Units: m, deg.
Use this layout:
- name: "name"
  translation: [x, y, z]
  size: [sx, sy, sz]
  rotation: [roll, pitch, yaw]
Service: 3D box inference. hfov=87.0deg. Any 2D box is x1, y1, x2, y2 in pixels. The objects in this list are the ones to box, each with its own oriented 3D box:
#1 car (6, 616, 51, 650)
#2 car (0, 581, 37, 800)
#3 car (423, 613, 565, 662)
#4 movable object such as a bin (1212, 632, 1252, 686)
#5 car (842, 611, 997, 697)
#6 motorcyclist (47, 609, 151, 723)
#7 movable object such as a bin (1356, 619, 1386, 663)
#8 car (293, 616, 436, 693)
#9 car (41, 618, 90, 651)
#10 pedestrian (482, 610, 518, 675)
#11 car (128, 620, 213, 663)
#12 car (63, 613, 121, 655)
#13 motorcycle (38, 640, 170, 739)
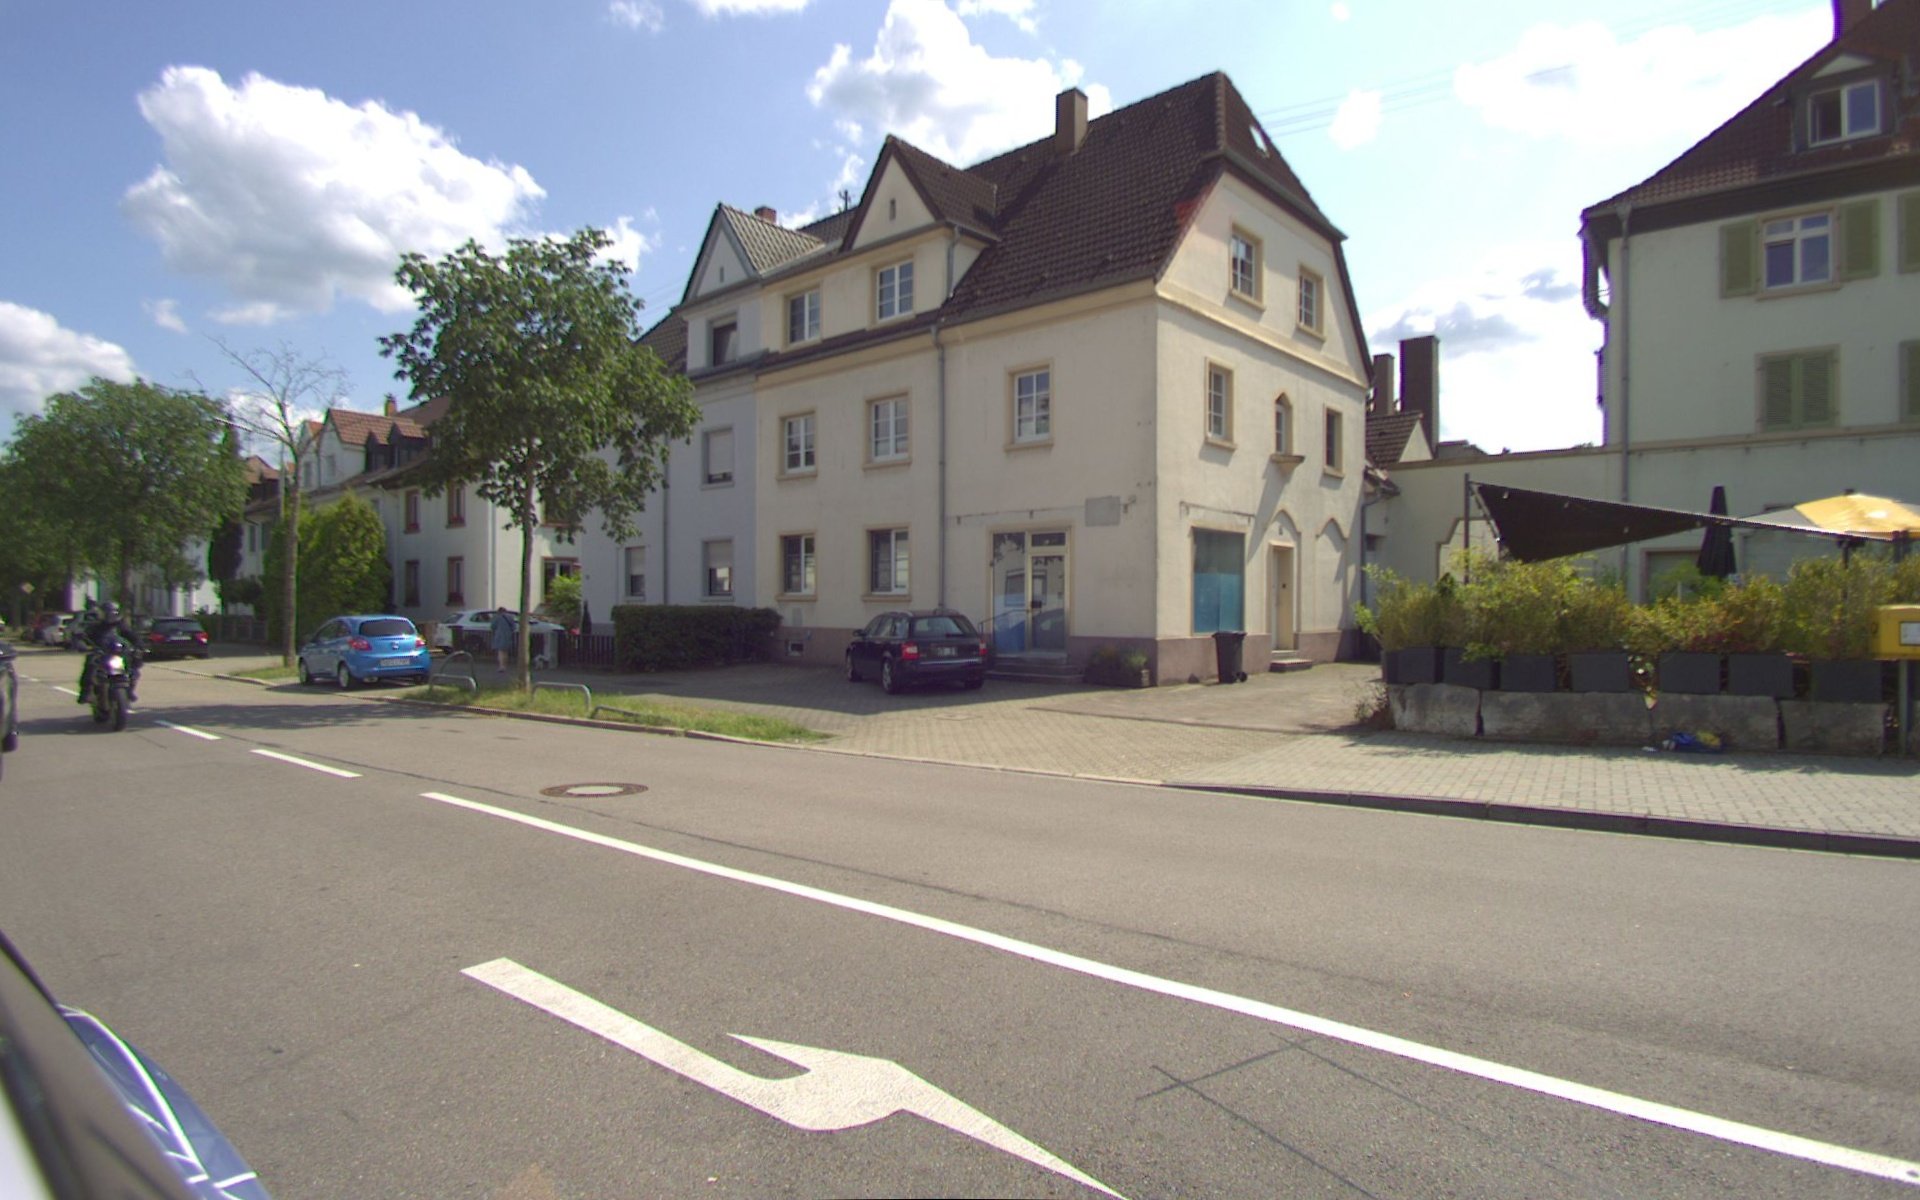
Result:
- name: "car"
  translation: [-47.854, 1.683, 51.952]
  size: [3.252, 1.667, 1.541]
  rotation: [-1, -2, 45]
- name: "car"
  translation: [-10.043, 0.761, 9.343]
  size: [4.873, 1.777, 1.753]
  rotation: [-1, -1, 42]
- name: "car"
  translation: [-14.845, 1.152, 32.352]
  size: [1.711, 1.465, 3.753]
  rotation: [-1, -1, 44]
- name: "movable object such as a bin"
  translation: [5.113, 1.095, 19.044]
  size: [0.510, 0.979, 0.607]
  rotation: [-1, -2, 41]
- name: "car"
  translation: [-0.869, 0.910, 18.551]
  size: [1.732, 1.397, 4.115]
  rotation: [0, -1, -19]
- name: "motorcyclist"
  translation: [-11.290, 0.852, 13.269]
  size: [1.098, 1.409, 0.815]
  rotation: [-4, -2, 38]
- name: "movable object such as a bin"
  translation: [9.990, 0.985, 24.584]
  size: [0.510, 1.053, 0.607]
  rotation: [-1, -2, 41]
- name: "car"
  translation: [-12.517, 1.091, 21.231]
  size: [3.153, 1.473, 1.687]
  rotation: [-1, -1, 41]
- name: "car"
  translation: [-40.875, 1.552, 46.212]
  size: [1.601, 1.436, 3.004]
  rotation: [0, -1, -43]
- name: "pedestrian"
  translation: [-11.127, 1.017, 24.497]
  size: [0.623, 1.547, 0.618]
  rotation: [1, -2, -44]
- name: "car"
  translation: [-25.839, 1.316, 33.086]
  size: [3.919, 1.306, 1.686]
  rotation: [-1, -1, 45]
- name: "car"
  translation: [-36.310, 1.406, 42.288]
  size: [3.575, 1.667, 1.541]
  rotation: [-1, -2, 45]
- name: "motorcycle"
  translation: [-11.112, 1.112, 13.109]
  size: [2.355, 1.136, 0.833]
  rotation: [-1, -1, 38]
